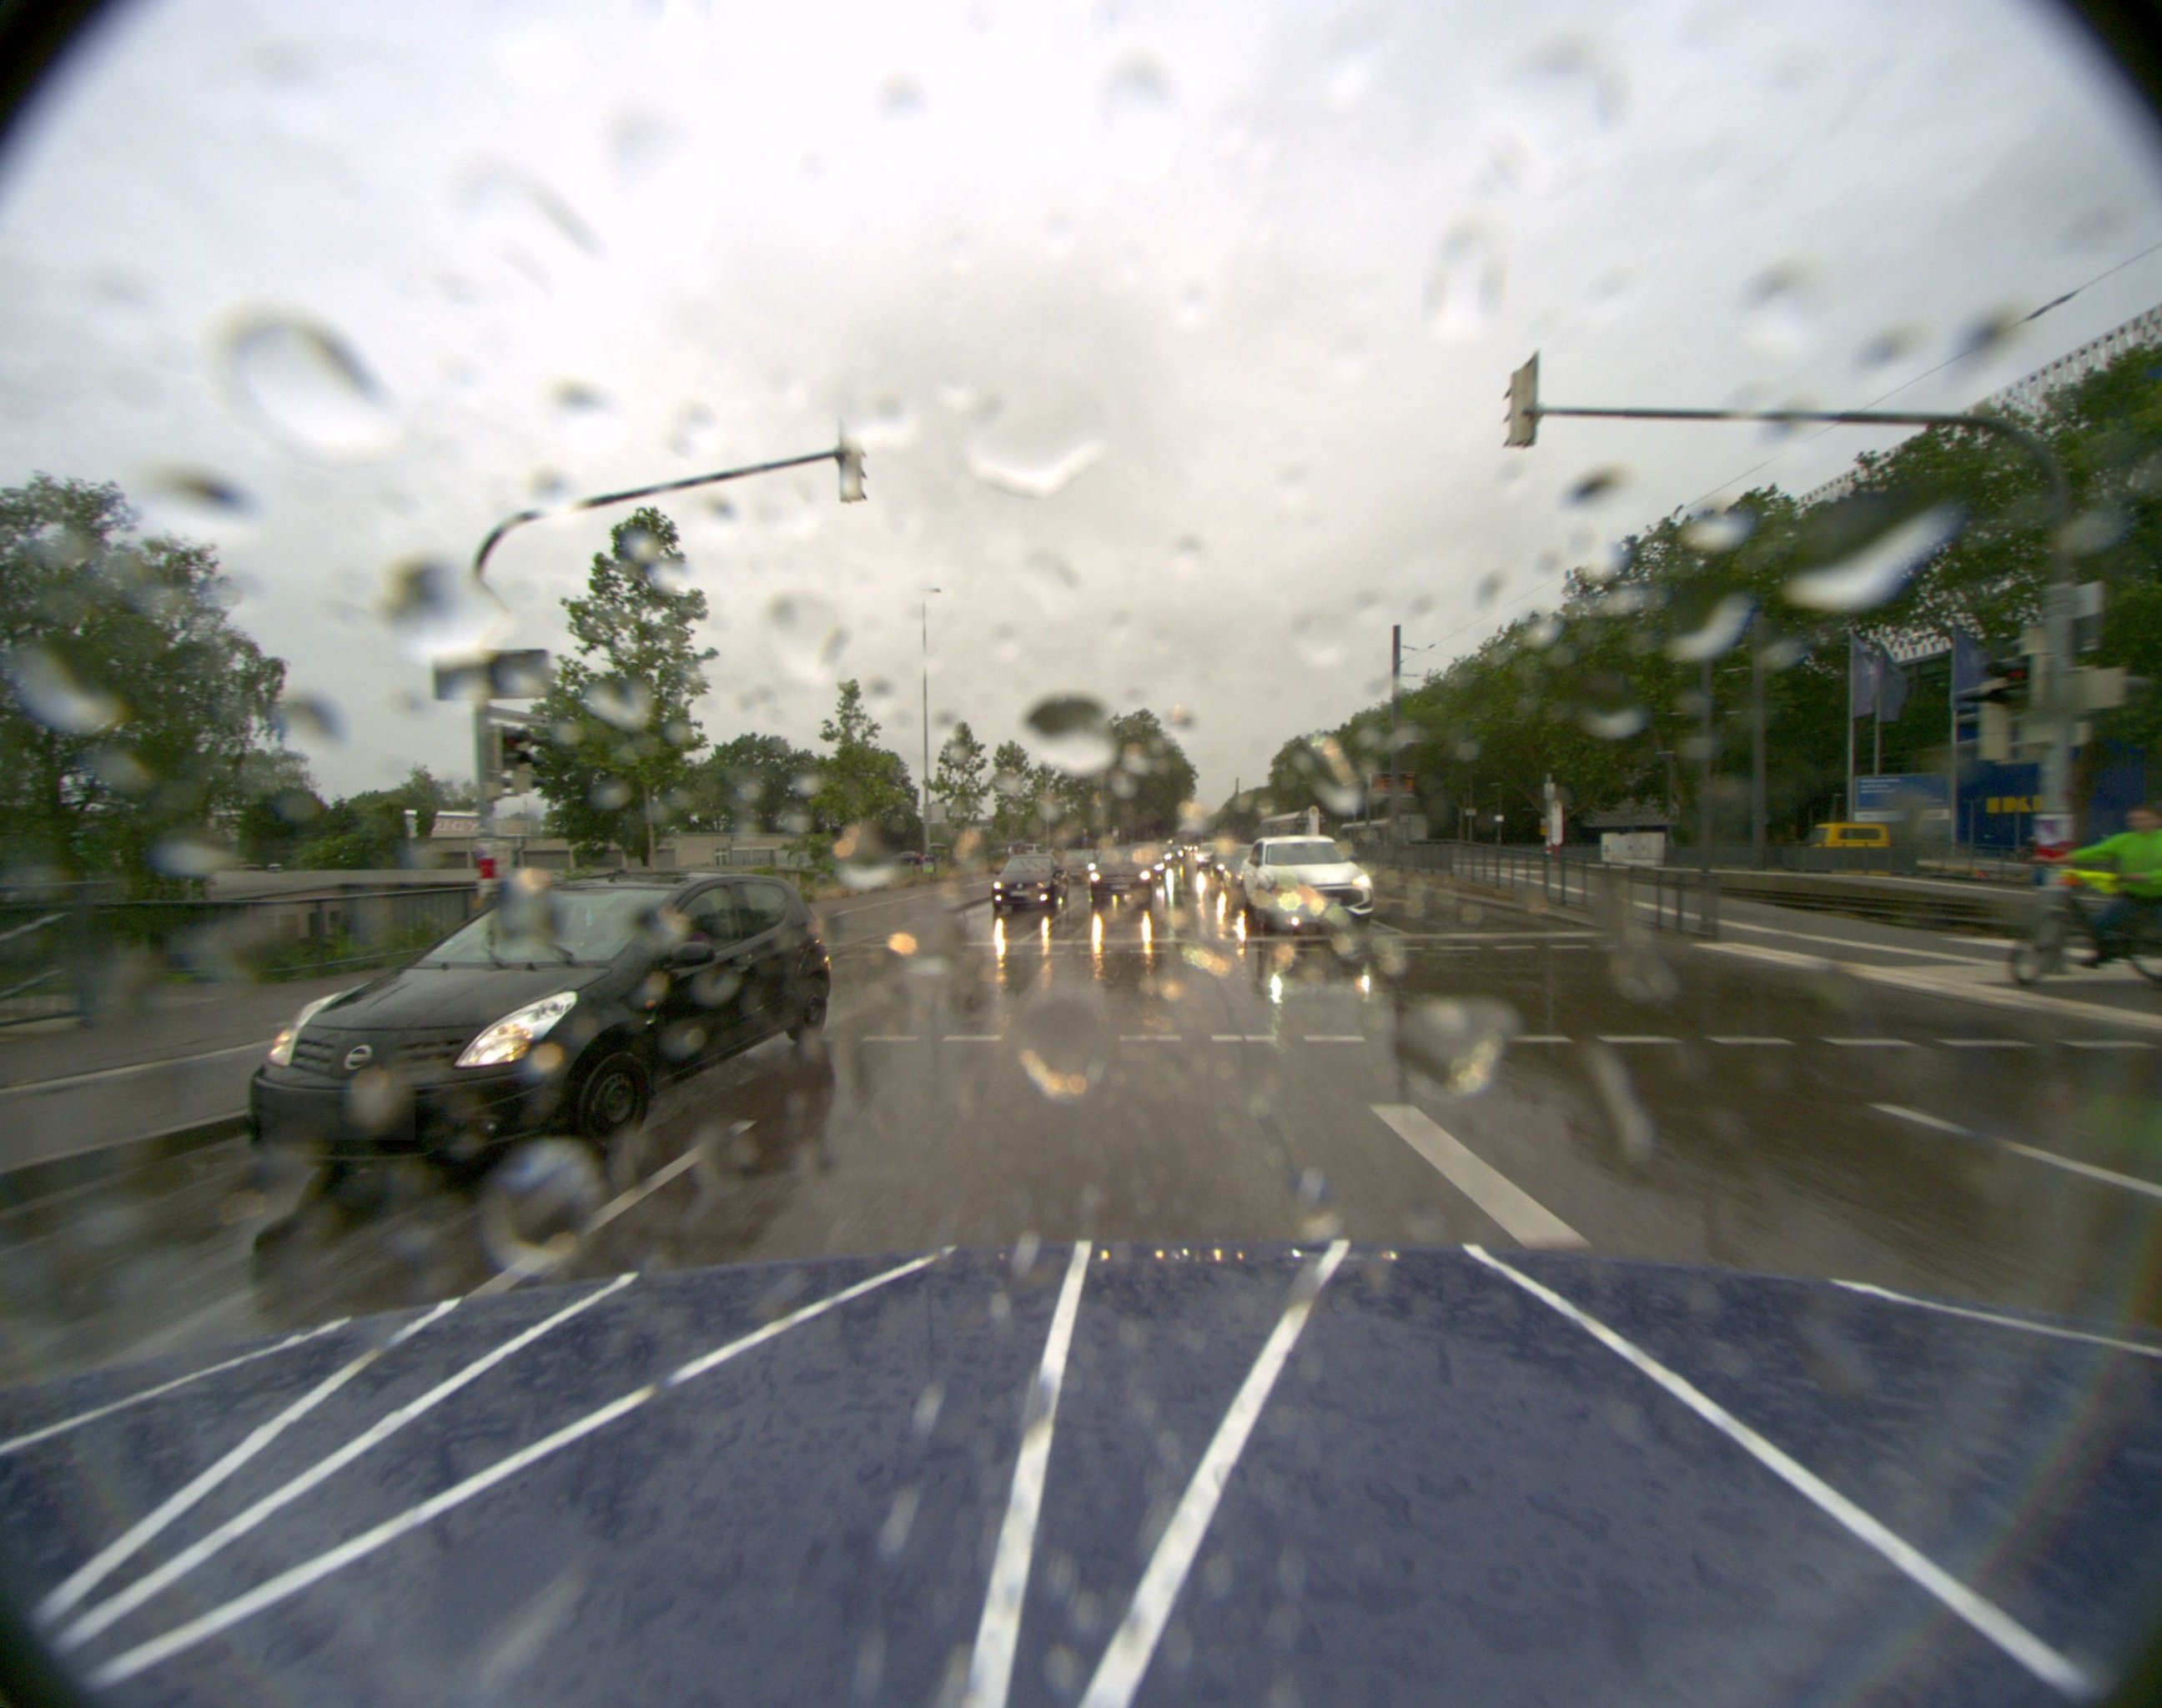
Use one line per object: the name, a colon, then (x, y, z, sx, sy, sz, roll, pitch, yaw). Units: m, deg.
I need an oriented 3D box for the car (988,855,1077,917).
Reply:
car: (-1.231, 0.800, 20.900, 1.715, 1.476, 4.045, -2, 0, 6)

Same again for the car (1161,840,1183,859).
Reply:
car: (7.731, -0.363, 64.671, 1.715, 1.515, 4.045, -2, 0, 6)

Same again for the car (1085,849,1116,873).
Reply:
car: (1.396, 0.463, 52.755, 1.715, 1.515, 4.180, -2, 0, 6)

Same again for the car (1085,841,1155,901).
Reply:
car: (1.249, 0.482, 23.115, 1.876, 1.573, 4.044, -2, 0, 5)

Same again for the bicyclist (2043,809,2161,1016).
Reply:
bicyclist: (9.320, 0.477, 6.692, 0.618, 1.721, 0.793, -3, 0, 4)

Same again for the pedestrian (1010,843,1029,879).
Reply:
pedestrian: (-2.731, 0.296, 33.867, 0.733, 1.602, 0.618, 0, 2, 6)

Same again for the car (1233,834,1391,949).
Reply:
car: (4.187, 0.585, 14.564, 1.993, 1.778, 4.554, -2, 1, 6)

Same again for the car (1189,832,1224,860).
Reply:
car: (7.415, -0.434, 45.154, 1.715, 1.515, 4.045, -2, 0, 6)

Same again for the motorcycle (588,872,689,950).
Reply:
motorcycle: (-7.622, 0.950, 13.151, 0.632, 1.211, 1.450, 0, 1, 18)

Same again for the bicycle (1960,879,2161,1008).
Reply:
bicycle: (9.226, 0.774, 6.768, 1.869, 1.002, 0.670, -3, 0, 4)

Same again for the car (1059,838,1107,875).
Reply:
car: (0.149, 0.111, 34.458, 1.715, 1.515, 4.045, -2, 0, 6)

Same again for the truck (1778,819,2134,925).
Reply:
truck: (28.783, 0.323, 25.975, 2.745, 2.833, 9.095, -3, 3, 9)

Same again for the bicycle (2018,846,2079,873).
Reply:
bicycle: (32.654, 0.173, 25.671, 0.574, 0.852, 1.175, -2, 1, 2)

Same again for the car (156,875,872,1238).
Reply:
car: (-3.077, 0.961, 5.380, 1.776, 1.453, 4.093, -2, 0, 4)

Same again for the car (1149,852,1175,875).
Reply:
car: (5.683, 0.658, 53.495, 1.715, 1.515, 4.045, -2, 0, 6)

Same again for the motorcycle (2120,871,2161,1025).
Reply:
motorcycle: (8.727, 0.755, 5.675, 0.527, 1.214, 1.403, -3, 0, 27)

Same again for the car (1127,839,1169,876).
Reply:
car: (3.048, 0.150, 34.261, 1.715, 1.515, 4.045, -2, 0, 6)

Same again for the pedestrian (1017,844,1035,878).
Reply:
pedestrian: (-2.621, 0.342, 36.028, 0.733, 1.602, 0.576, 0, 2, 6)

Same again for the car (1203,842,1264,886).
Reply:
car: (5.726, 0.337, 28.983, 1.751, 1.466, 4.698, -2, 1, 6)

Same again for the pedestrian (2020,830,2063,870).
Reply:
pedestrian: (32.637, -0.148, 25.831, 0.579, 1.327, 0.686, -2, 2, 2)

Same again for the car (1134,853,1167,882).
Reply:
car: (3.985, 0.748, 43.004, 1.715, 1.515, 4.045, -2, 0, 6)

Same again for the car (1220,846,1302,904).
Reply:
car: (5.013, 0.518, 21.740, 1.714, 1.405, 4.699, -2, 1, 7)

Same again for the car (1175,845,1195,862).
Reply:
car: (10.263, -0.053, 75.145, 1.715, 1.515, 4.045, -2, 0, 6)
